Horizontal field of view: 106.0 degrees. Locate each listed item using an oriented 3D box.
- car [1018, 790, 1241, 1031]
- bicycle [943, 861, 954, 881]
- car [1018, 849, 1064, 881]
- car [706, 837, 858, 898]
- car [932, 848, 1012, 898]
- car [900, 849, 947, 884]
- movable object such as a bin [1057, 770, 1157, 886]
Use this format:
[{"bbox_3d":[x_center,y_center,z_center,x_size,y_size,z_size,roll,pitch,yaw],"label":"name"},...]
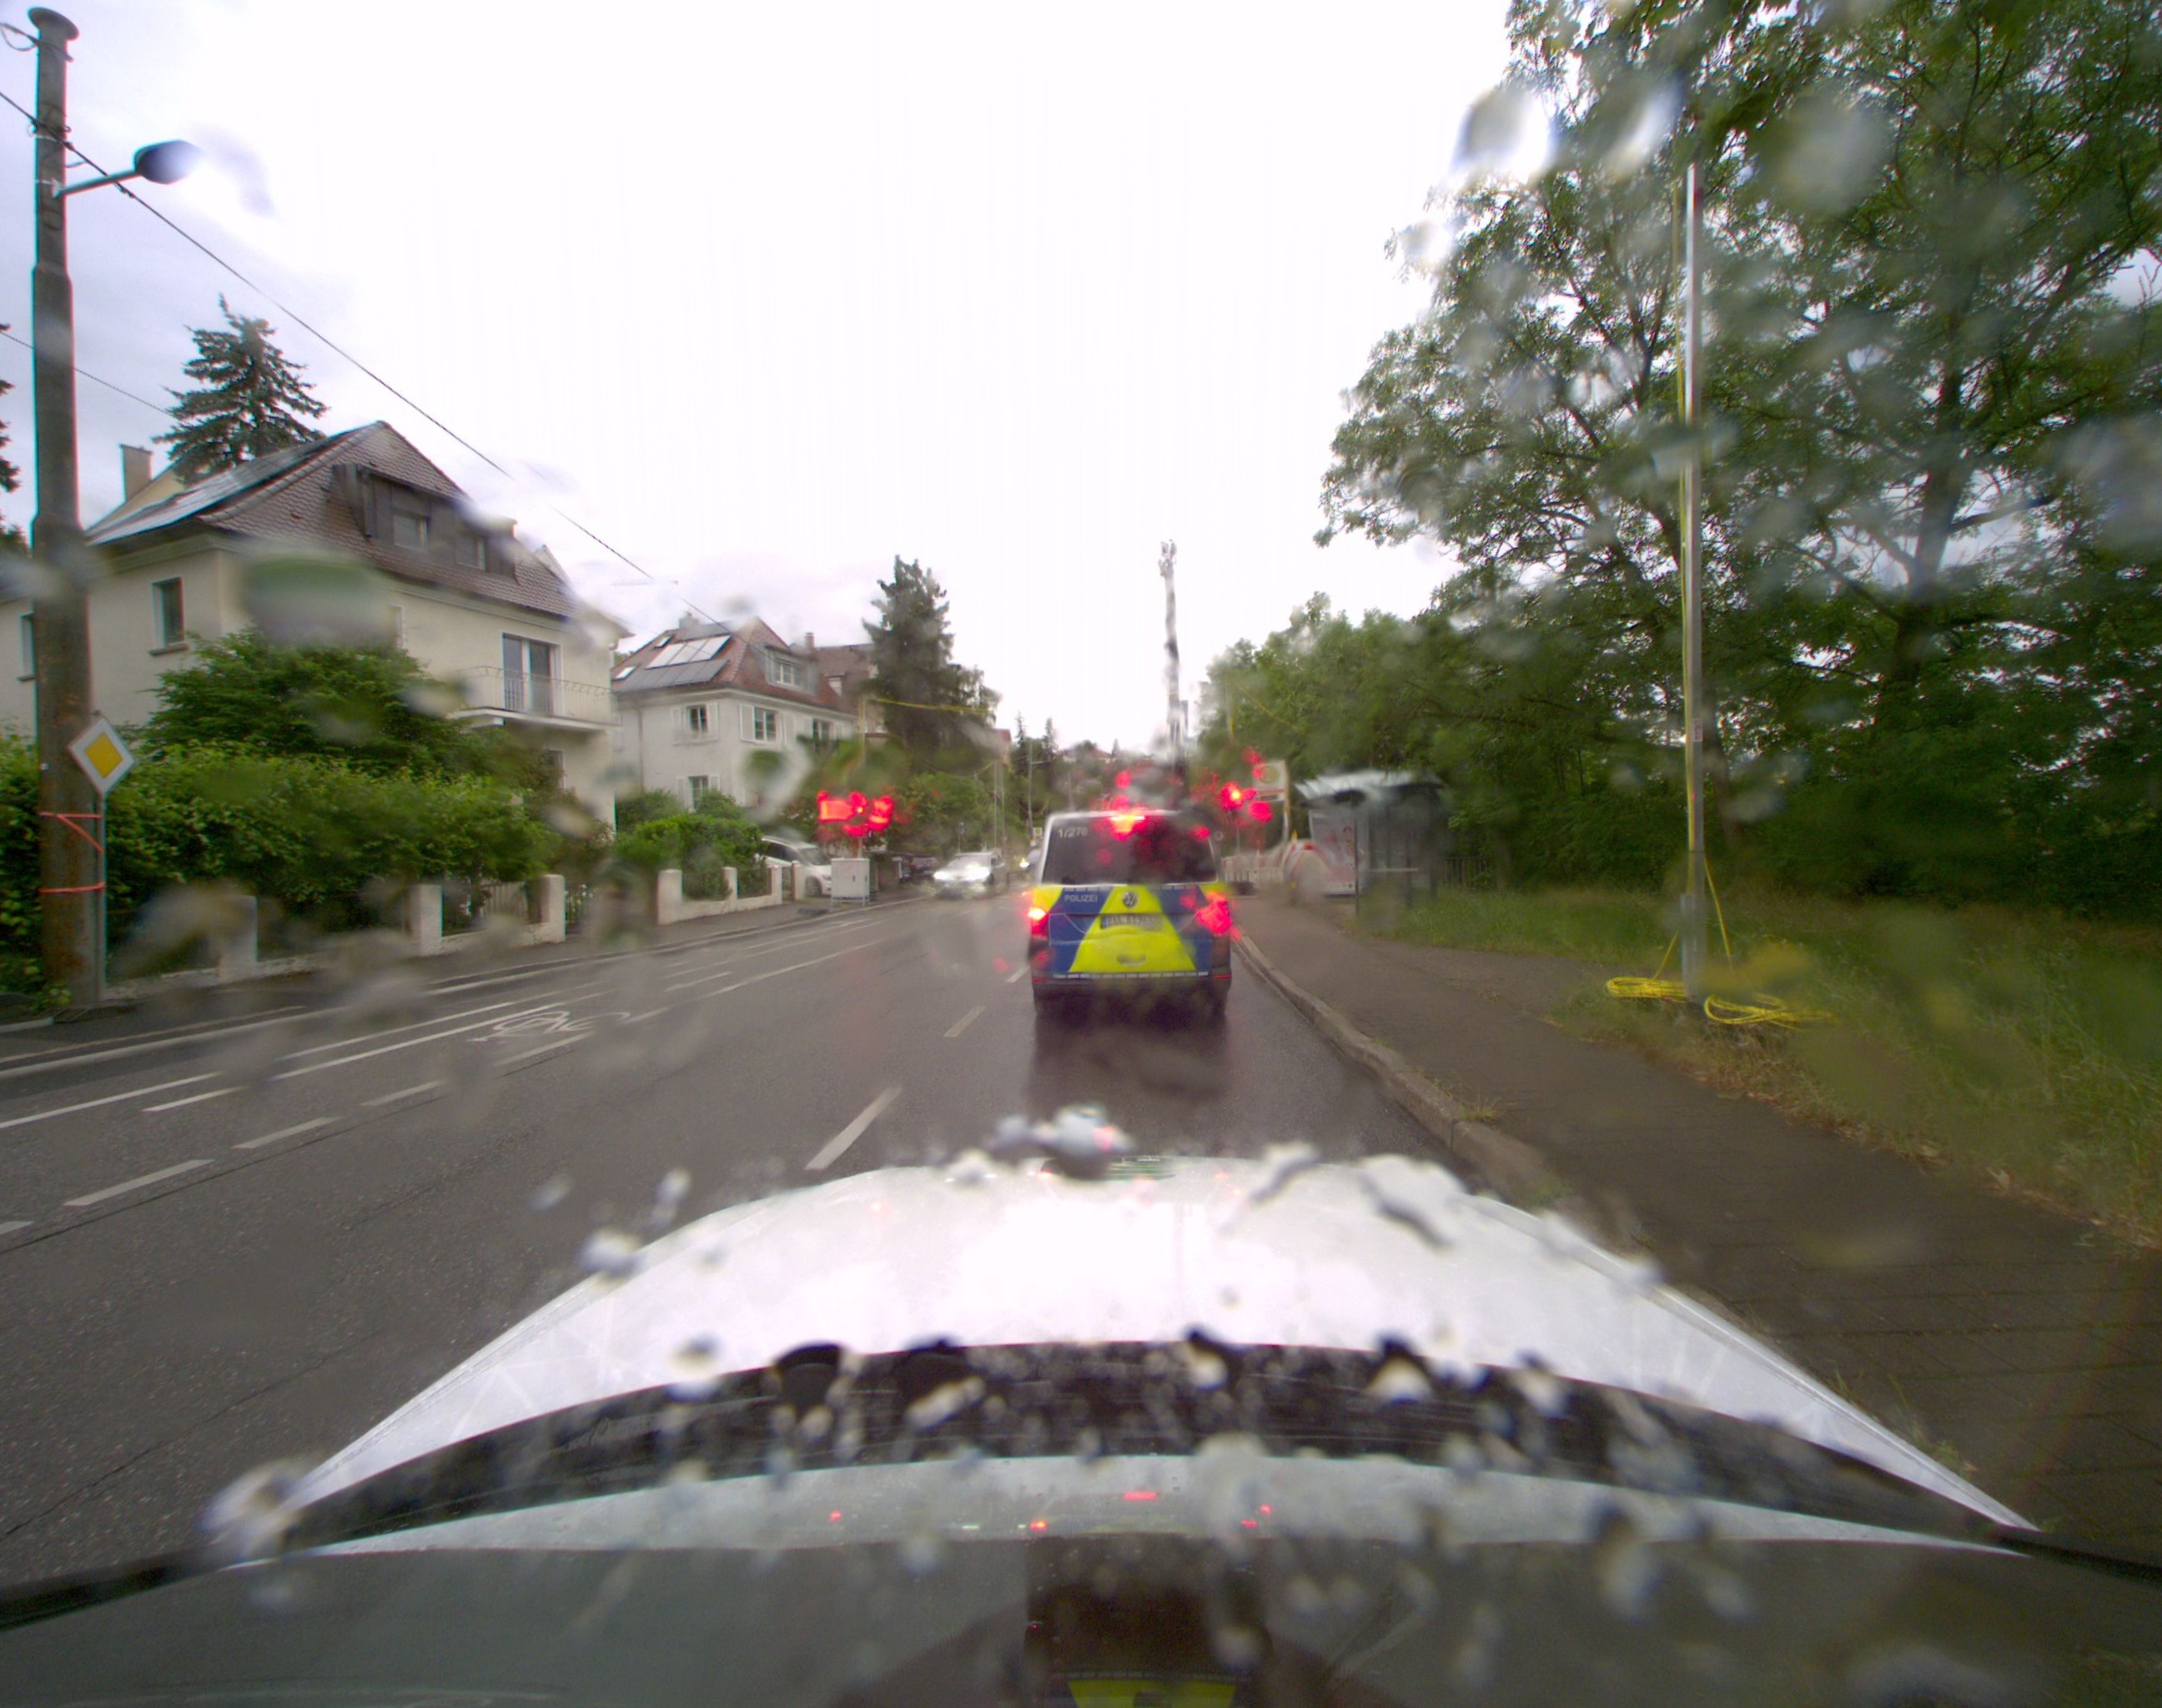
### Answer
[{"bbox_3d":[0.475,0.477,8.948,1.886,2.050,4.002,0,0,2],"label":"car"},{"bbox_3d":[-6.487,0.821,39.896,0.463,0.897,1.627,-1,0,-12],"label":"bicycle"},{"bbox_3d":[-2.101,0.550,43.851,1.857,1.621,4.171,-1,0,5],"label":"car"},{"bbox_3d":[-10.267,0.455,28.063,4.599,2.007,1.907,0,0,13],"label":"car"},{"bbox_3d":[-3.653,0.618,28.181,1.845,1.527,4.823,-2,-1,3],"label":"car"},{"bbox_3d":[-7.441,0.551,38.306,1.770,1.486,3.720,0,1,-17],"label":"car"},{"bbox_3d":[1.119,-0.936,31.779,2.809,4.177,4.400,0,0,17],"label":"movable object such as a bin"}]
